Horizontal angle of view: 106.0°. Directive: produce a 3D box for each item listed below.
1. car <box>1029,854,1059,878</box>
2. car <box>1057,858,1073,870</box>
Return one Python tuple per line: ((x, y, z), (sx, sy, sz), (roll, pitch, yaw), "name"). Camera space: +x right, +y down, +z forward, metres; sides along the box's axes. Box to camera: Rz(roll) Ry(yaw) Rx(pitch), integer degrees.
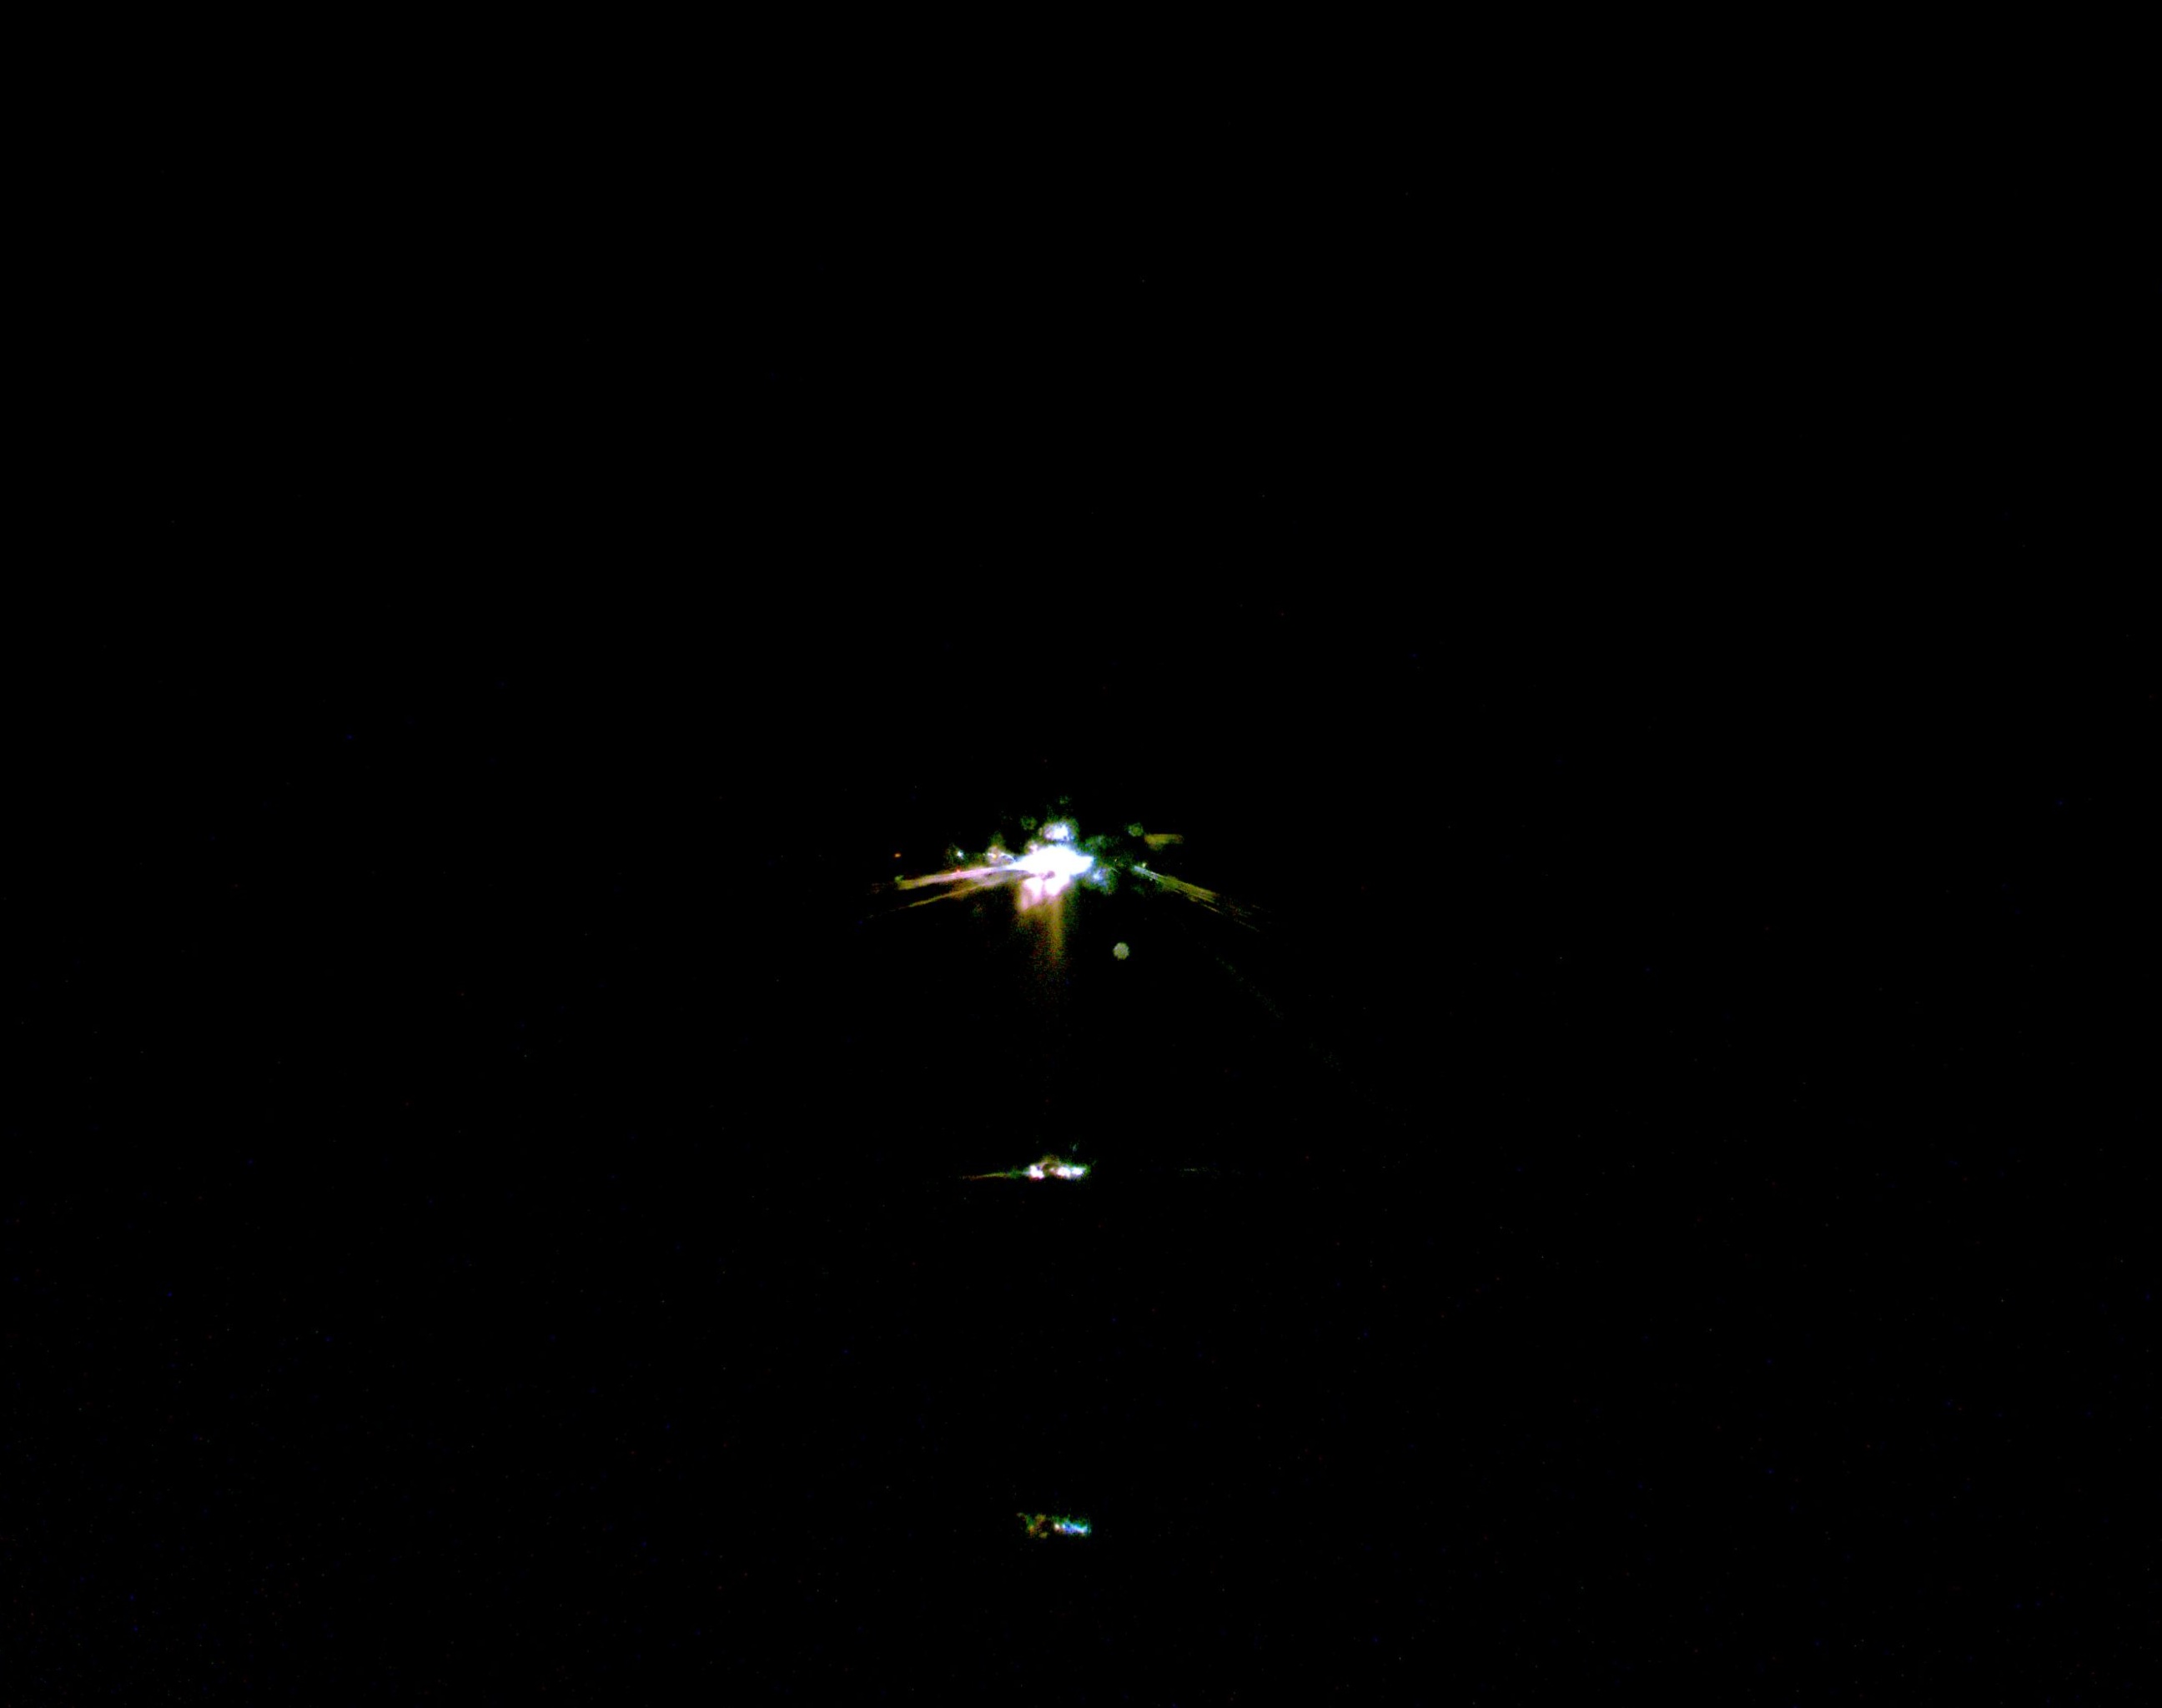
((-2.550, 0.826, 57.128), (1.862, 1.612, 3.847), (-1, 0, 1), "car")
((-1.955, 1.252, 101.166), (1.862, 1.448, 4.393), (-1, 0, 1), "car")
